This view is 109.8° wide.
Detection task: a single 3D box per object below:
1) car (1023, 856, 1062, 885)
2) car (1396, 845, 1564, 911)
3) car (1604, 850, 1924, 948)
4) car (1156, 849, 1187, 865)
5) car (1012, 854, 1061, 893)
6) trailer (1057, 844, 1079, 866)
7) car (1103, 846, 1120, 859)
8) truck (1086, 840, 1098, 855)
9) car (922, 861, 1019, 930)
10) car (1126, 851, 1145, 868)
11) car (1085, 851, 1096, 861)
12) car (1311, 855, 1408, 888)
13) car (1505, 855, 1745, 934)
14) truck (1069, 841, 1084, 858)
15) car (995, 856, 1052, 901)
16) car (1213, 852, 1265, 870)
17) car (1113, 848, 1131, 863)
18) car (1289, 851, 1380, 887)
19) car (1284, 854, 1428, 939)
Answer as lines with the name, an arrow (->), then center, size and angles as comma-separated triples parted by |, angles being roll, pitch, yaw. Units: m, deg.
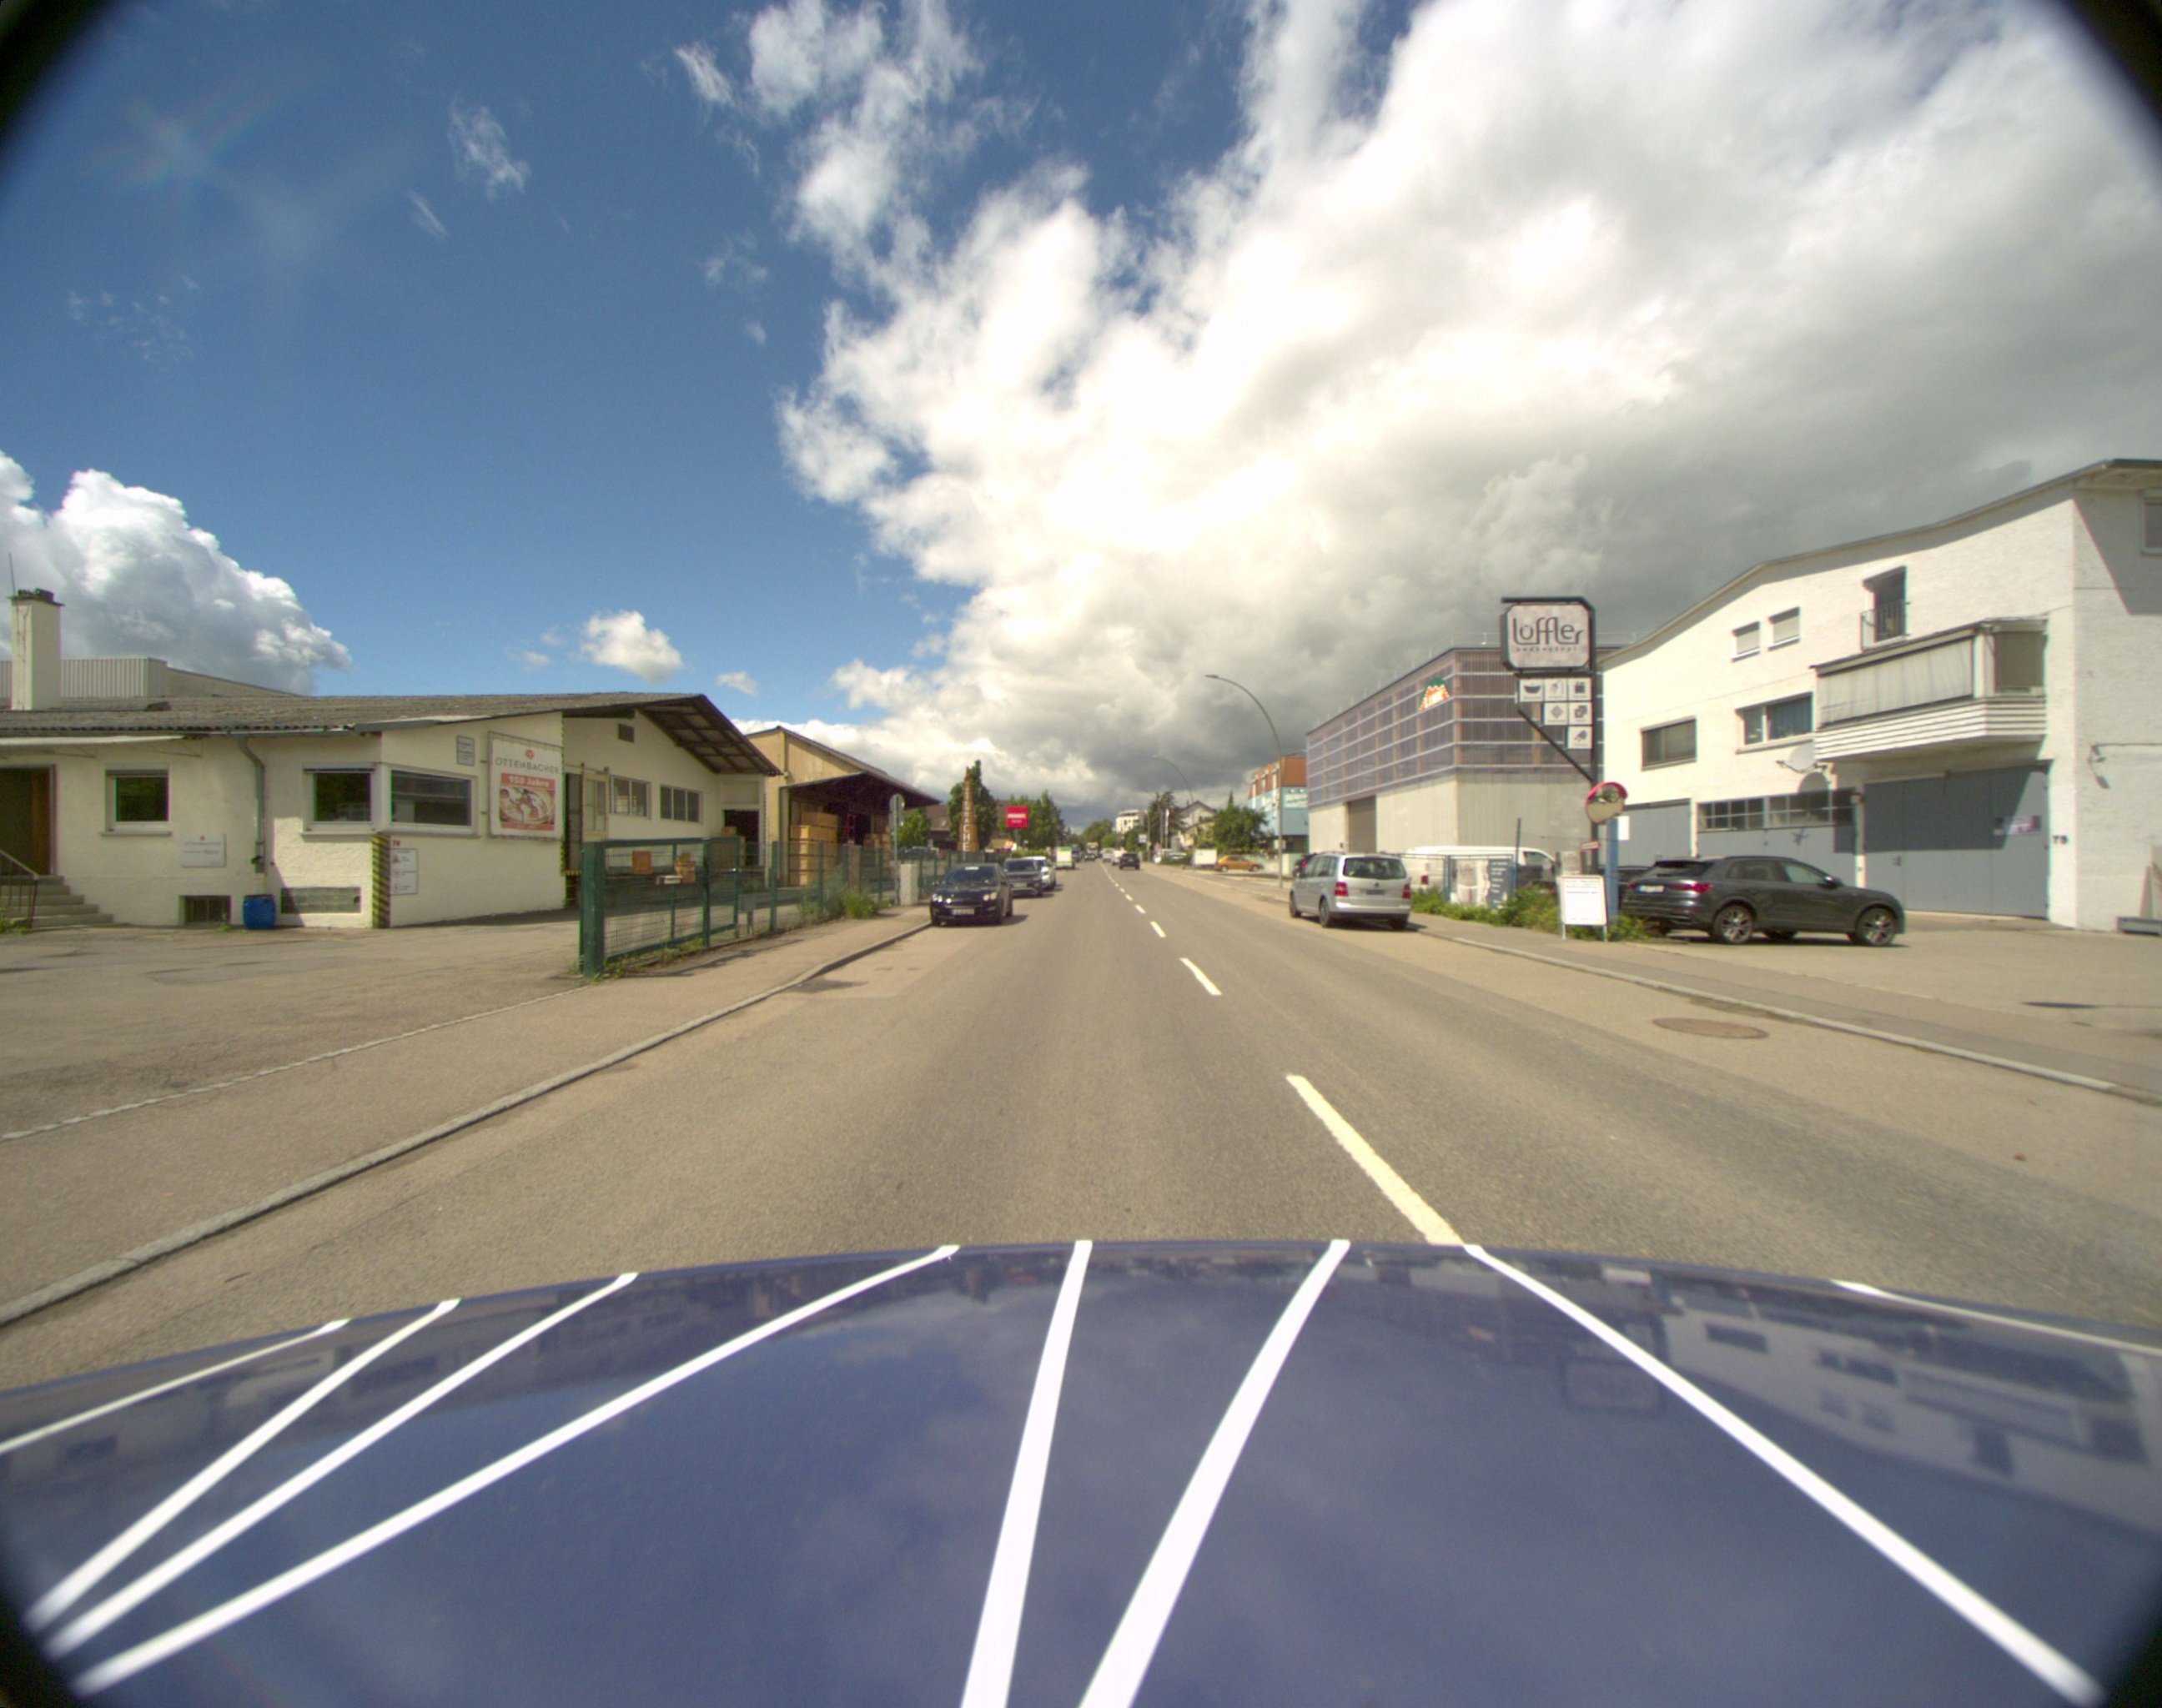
car -> -2.044, 0.854, 41.411 | 1.806, 1.459, 4.000 | 0, 0, 1
car -> 11.865, 0.685, 22.814 | 3.996, 1.866, 2.000 | 0, 0, 1
car -> 12.397, 0.766, 14.016 | 4.169, 1.660, 1.999 | 0, 0, -2
car -> 11.829, 0.372, 99.995 | 3.995, 2.002, 2.001 | 0, 0, 6
car -> -2.037, 0.867, 35.642 | 1.835, 1.608, 4.000 | -3, 0, 2
trailer -> -1.302, 0.078, 77.359 | 2.044, 2.214, 5.079 | 0, 0, 1
car -> 4.883, -0.277, 124.014 | 2.384, 2.002, 6.383 | 0, 0, -2
truck -> 2.689, -1.615, 184.507 | 2.880, 3.290, 8.607 | -2, 1, 1
car -> -2.643, 0.949, 19.017 | 1.759, 1.455, 4.000 | -1, 0, 1
car -> 5.418, 0.505, 75.846 | 1.859, 1.686, 4.001 | 0, 0, 4
car -> 1.744, 0.309, 135.728 | 1.998, 1.802, 4.000 | -1, 0, 1
car -> 13.218, 0.835, 36.160 | 3.955, 1.492, 1.777 | 0, -1, -1
car -> 12.244, 0.866, 17.322 | 3.998, 1.660, 2.103 | 0, 0, -2
truck -> -0.729, -0.843, 128.976 | 2.410, 2.722, 6.640 | -2, 1, 1
car -> -2.265, 0.927, 30.854 | 1.811, 1.566, 4.188 | -3, 0, 1
car -> 13.227, 0.600, 63.719 | 4.046, 1.485, 1.675 | 0, 0, 0
car -> 5.162, 0.153, 95.764 | 1.999, 1.852, 3.835 | 0, 0, -1
car -> 12.916, 0.745, 38.859 | 3.997, 1.727, 2.000 | 0, 1, 1
car -> 6.088, 0.857, 17.375 | 1.809, 1.666, 4.127 | 2, 0, 1
